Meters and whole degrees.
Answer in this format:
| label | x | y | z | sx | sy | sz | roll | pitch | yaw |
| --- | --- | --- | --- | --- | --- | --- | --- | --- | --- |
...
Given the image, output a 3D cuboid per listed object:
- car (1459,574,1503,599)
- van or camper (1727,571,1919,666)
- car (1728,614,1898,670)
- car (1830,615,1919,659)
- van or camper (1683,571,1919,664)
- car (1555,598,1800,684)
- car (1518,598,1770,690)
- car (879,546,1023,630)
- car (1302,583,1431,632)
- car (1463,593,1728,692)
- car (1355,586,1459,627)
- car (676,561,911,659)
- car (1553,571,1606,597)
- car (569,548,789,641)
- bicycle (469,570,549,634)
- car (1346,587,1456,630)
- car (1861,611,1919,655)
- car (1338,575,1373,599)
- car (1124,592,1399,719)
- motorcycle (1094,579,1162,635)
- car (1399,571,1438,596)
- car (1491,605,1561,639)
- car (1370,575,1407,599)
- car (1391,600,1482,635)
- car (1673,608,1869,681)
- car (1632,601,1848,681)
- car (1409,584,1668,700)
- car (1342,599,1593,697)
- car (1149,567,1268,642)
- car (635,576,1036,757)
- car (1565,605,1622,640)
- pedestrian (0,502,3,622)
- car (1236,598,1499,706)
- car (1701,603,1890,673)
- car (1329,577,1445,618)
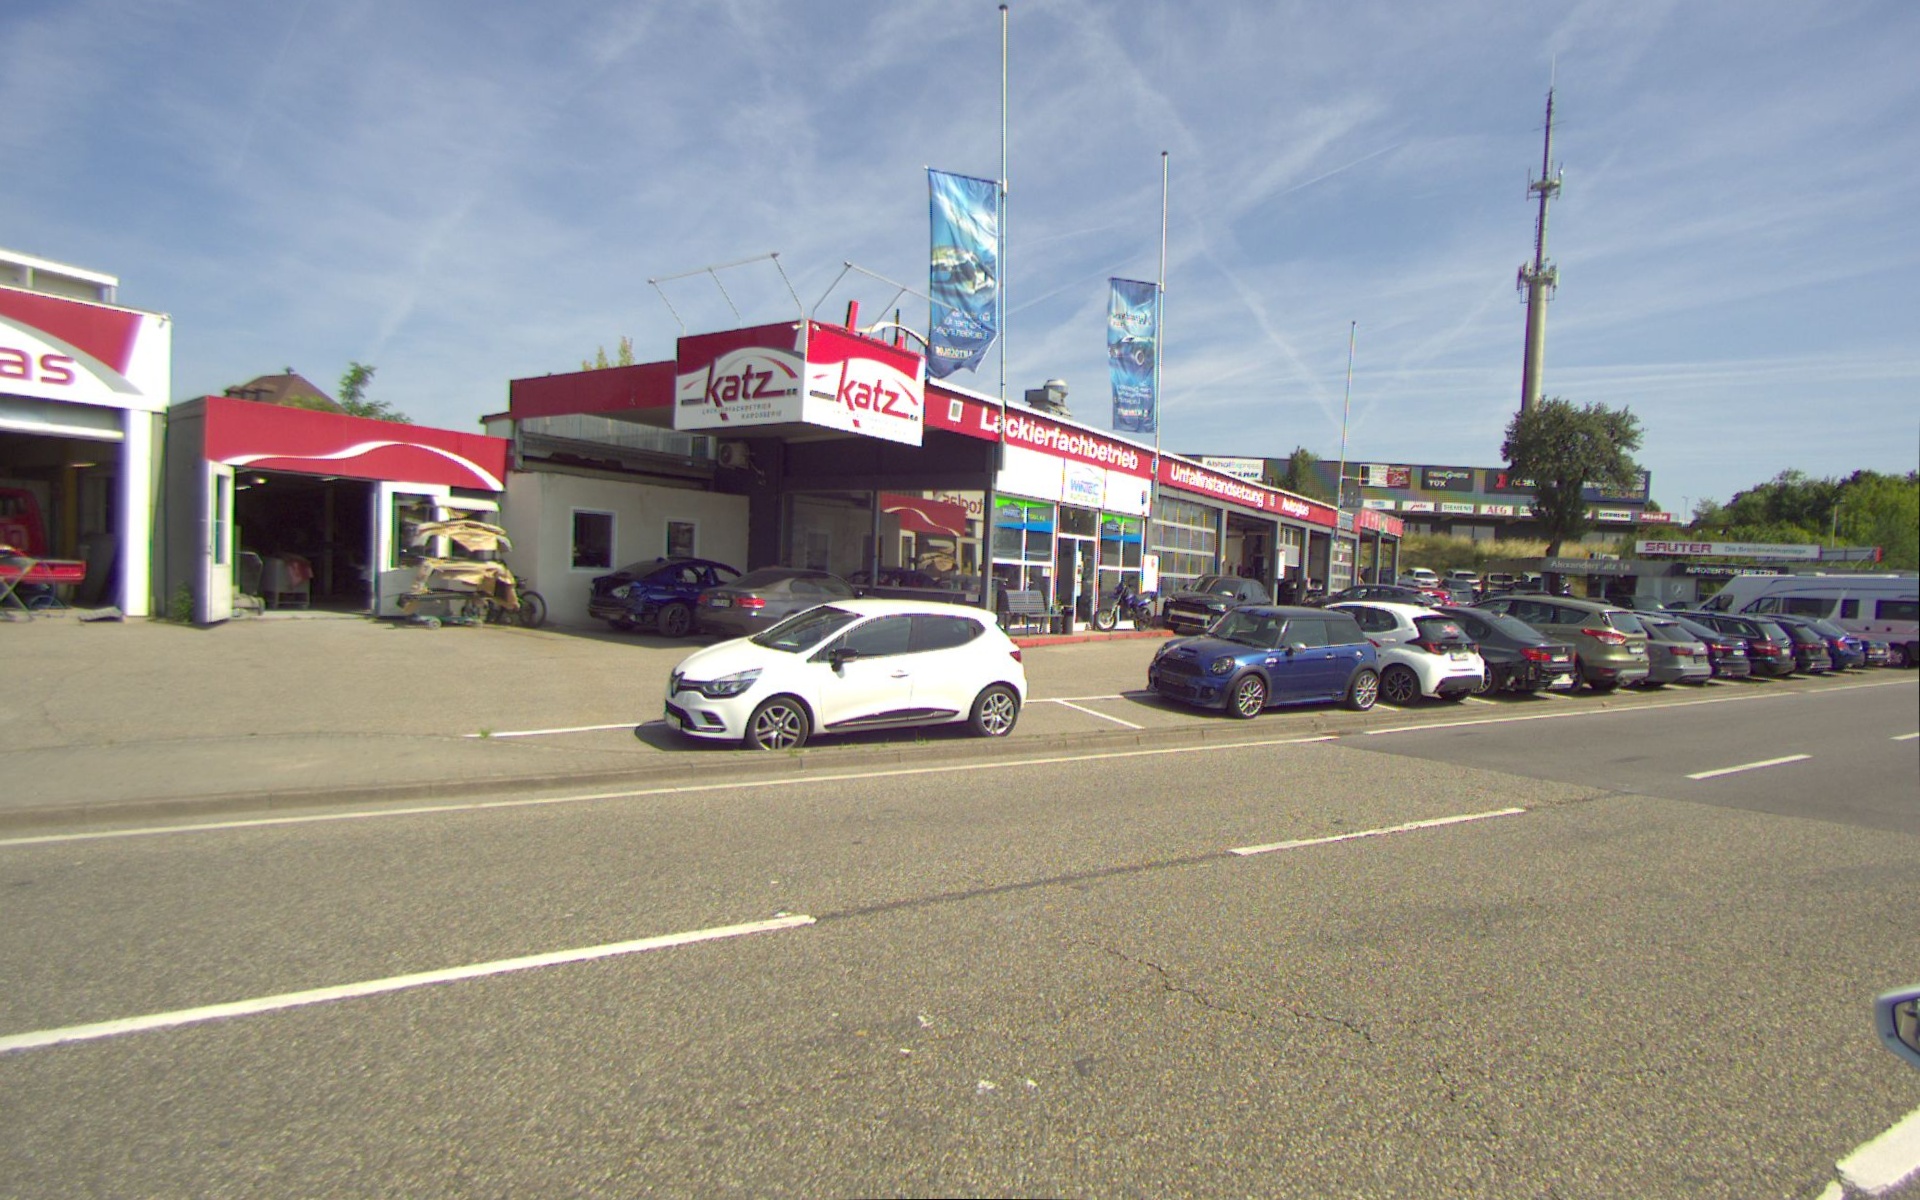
| label | x | y | z | sx | sy | sz | roll | pitch | yaw |
| --- | --- | --- | --- | --- | --- | --- | --- | --- | --- |
| car | 33.372 | -0.856 | 64.466 | 1.701 | 1.470 | 3.750 | 3 | 1 | 16 |
| van or camper | 27.753 | 0.513 | 31.637 | 2.186 | 2.768 | 5.216 | 1 | 1 | -32 |
| car | 25.758 | 1.223 | 30.438 | 1.792 | 1.500 | 3.574 | 1 | 0 | -32 |
| car | 33.503 | 1.317 | 35.514 | 1.823 | 1.468 | 3.793 | 1 | 0 | -34 |
| van or camper | 28.757 | 0.476 | 34.521 | 2.265 | 2.912 | 5.857 | 0 | 1 | -33 |
| car | 17.244 | 0.915 | 24.370 | 1.754 | 1.505 | 4.429 | 1 | 5 | -34 |
| car | 15.250 | 0.912 | 22.635 | 1.780 | 1.505 | 4.270 | 1 | 5 | -34 |
| car | -0.139 | -0.295 | 24.593 | 1.675 | 1.782 | 3.752 | 6 | 3 | 32 |
| car | 14.172 | 0.238 | 35.071 | 3.884 | 1.553 | 1.764 | 1 | 0 | 34 |
| car | 13.182 | 0.804 | 21.094 | 1.818 | 1.505 | 4.248 | 1 | 5 | -35 |
| car | 18.935 | 0.262 | 42.551 | 3.764 | 1.609 | 1.764 | 1 | 0 | 34 |
| car | -2.997 | 0.081 | 18.919 | 1.828 | 1.525 | 4.381 | 5 | 5 | 34 |
| car | 37.832 | -0.972 | 61.451 | 1.701 | 1.470 | 3.750 | 3 | 1 | 16 |
| car | -5.483 | -0.188 | 20.021 | 1.828 | 1.525 | 3.988 | 6 | 6 | 33 |
| bicycle | -8.551 | 0.022 | 19.007 | 1.966 | 0.984 | 0.413 | 8 | 4 | 36 |
| car | 17.642 | 0.314 | 40.259 | 3.764 | 1.609 | 1.764 | 1 | 0 | 34 |
| car | 35.984 | 1.255 | 37.040 | 1.823 | 1.560 | 3.793 | 1 | 0 | -34 |
| car | 26.377 | -0.876 | 67.103 | 1.701 | 1.470 | 3.750 | 3 | 1 | 16 |
| car | 4.467 | 0.754 | 14.801 | 3.739 | 1.514 | 1.769 | 1 | 5 | -32 |
| motorcycle | 4.030 | 0.174 | 23.977 | 0.760 | 1.278 | 2.048 | 1 | 0 | 36 |
| car | 30.066 | -1.066 | 65.972 | 1.701 | 1.558 | 3.750 | 3 | 1 | 16 |
| car | 28.724 | 1.093 | 51.107 | 1.733 | 1.609 | 3.831 | 1 | 0 | 7 |
| car | 28.140 | -0.809 | 66.108 | 1.701 | 1.470 | 3.750 | 3 | 1 | 16 |
| car | 23.272 | 0.822 | 49.208 | 1.745 | 1.609 | 3.805 | 1 | 0 | -25 |
| car | 21.454 | 1.112 | 26.700 | 1.690 | 1.577 | 3.683 | -1 | 3 | -34 |
| car | 19.357 | 0.955 | 25.082 | 1.784 | 1.505 | 3.819 | 1 | 5 | -35 |
| car | 11.062 | 0.717 | 19.470 | 1.788 | 1.740 | 3.860 | 1 | 5 | -35 |
| car | 9.107 | 0.785 | 18.276 | 1.774 | 1.546 | 3.683 | 1 | 0 | -35 |
| car | 6.805 | 0.149 | 27.255 | 1.796 | 1.696 | 4.118 | 8 | 3 | 31 |
| car | -1.301 | 0.633 | 10.958 | 3.955 | 1.639 | 1.769 | 1 | 1 | -32 |
| car | 31.148 | 1.067 | 49.467 | 1.735 | 1.609 | 3.827 | 1 | 0 | 23 |
| pedestrian | -14.533 | -0.563 | 14.481 | 0.884 | 1.786 | 0.719 | 2 | 1 | -30 |
| car | 6.798 | 0.791 | 17.090 | 1.828 | 1.546 | 3.771 | 1 | 1 | -35 |
| car | 23.294 | 1.008 | 28.128 | 1.690 | 1.505 | 3.683 | 1 | 5 | -35 |
| car | 16.063 | -0.104 | 37.823 | 3.764 | 1.451 | 1.764 | 1 | 0 | 34 |
